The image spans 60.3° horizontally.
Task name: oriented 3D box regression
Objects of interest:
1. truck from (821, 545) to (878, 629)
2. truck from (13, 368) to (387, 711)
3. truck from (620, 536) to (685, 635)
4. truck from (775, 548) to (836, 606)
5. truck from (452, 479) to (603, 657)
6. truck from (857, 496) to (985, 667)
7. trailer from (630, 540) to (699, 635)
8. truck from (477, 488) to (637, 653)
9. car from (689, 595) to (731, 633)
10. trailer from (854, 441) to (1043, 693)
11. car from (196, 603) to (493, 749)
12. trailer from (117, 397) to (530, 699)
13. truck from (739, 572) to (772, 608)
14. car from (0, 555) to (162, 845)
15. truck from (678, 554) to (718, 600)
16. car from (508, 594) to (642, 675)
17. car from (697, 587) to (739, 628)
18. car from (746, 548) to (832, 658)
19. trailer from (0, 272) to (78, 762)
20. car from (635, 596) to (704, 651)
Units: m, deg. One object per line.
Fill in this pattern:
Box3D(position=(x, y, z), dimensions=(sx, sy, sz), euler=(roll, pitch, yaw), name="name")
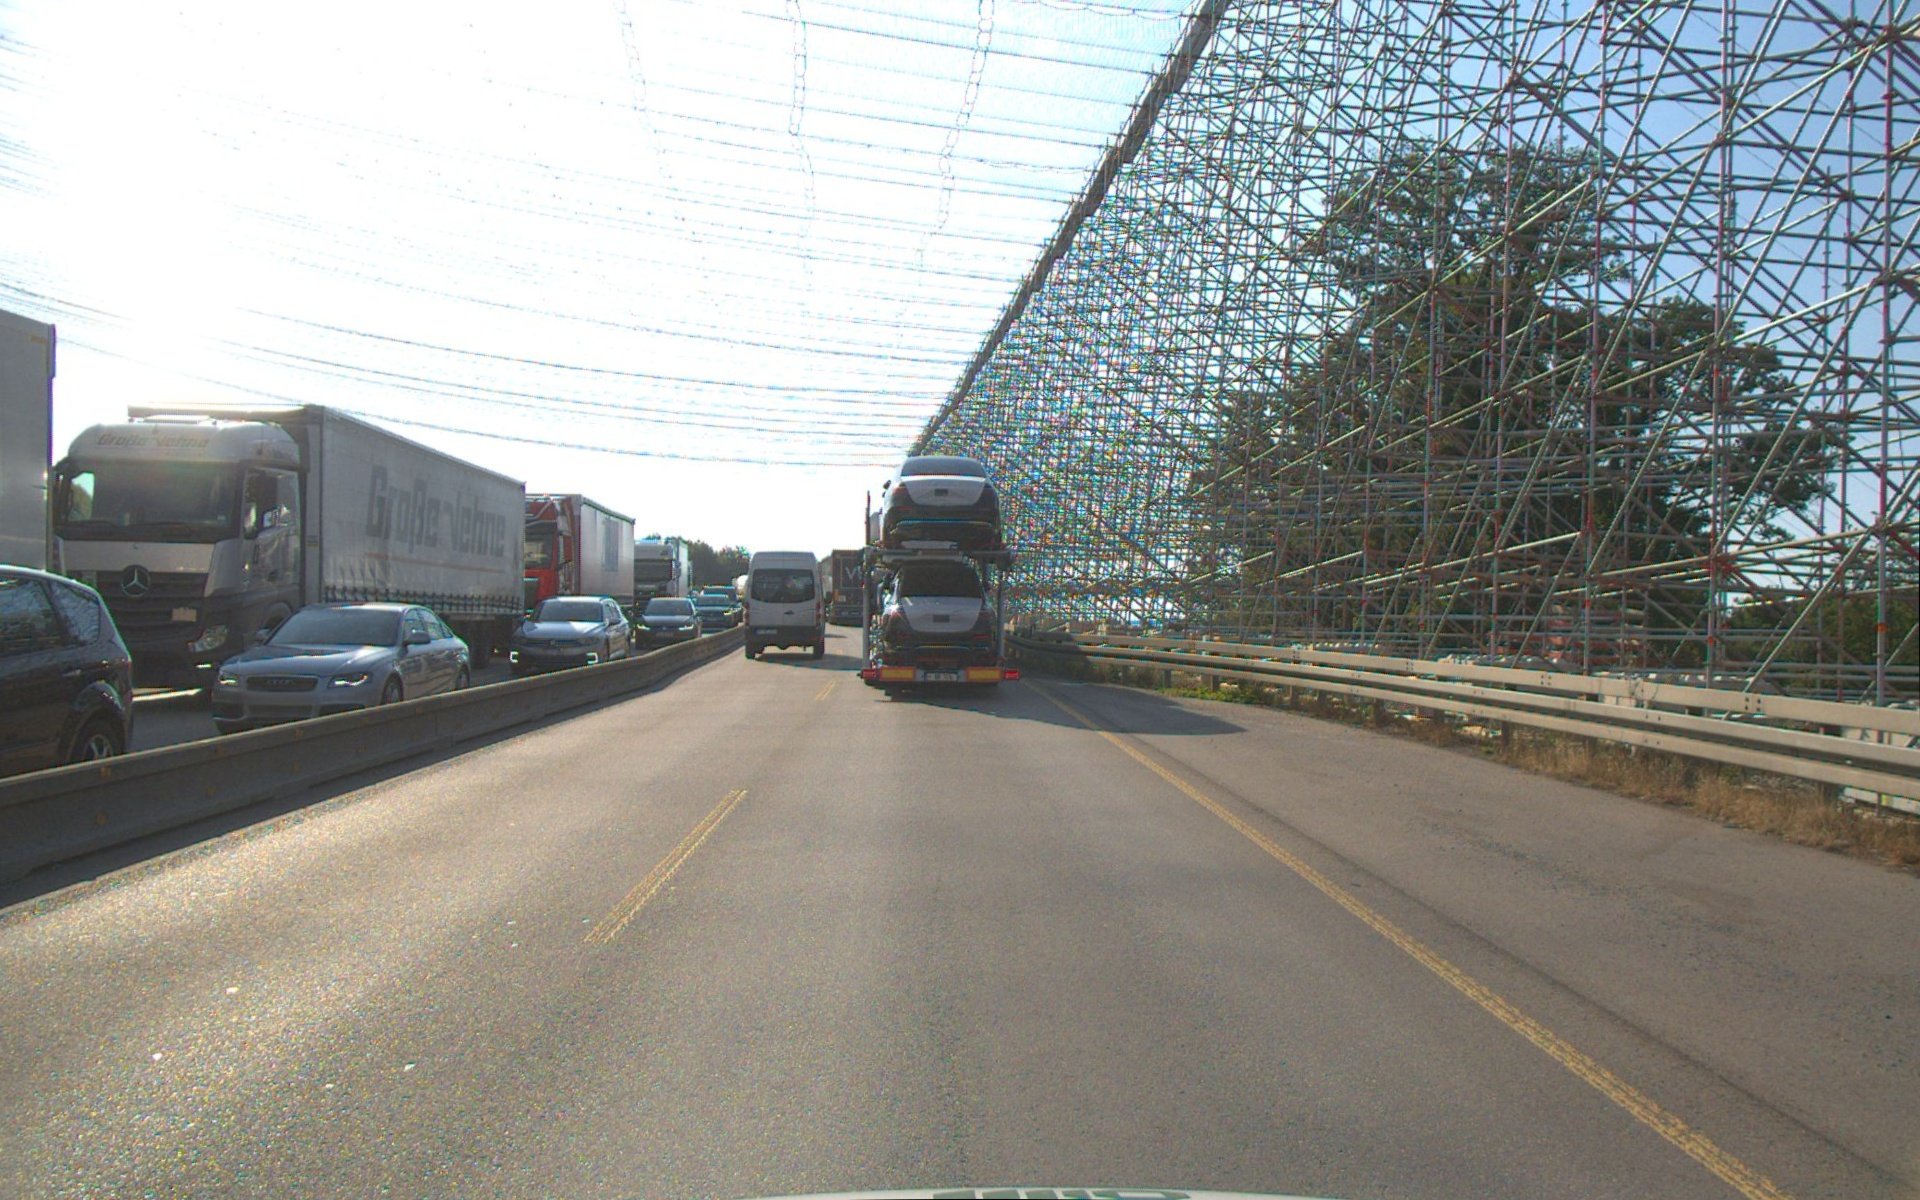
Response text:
Box3D(position=(-6.401, -0.723, 94.281), dimensions=(2.680, 4.462, 11.505), euler=(1, 0, -6), name="truck")
Box3D(position=(-10.379, -0.719, 23.339), dimensions=(2.732, 4.214, 5.930), euler=(0, -1, -3), name="truck")
Box3D(position=(-13.996, -0.627, 75.682), dimensions=(2.613, 4.304, 6.093), euler=(0, 0, -8), name="truck")
Box3D(position=(-12.406, -1.742, 131.765), dimensions=(3.620, 4.294, 13.635), euler=(-2, 0, -10), name="truck")
Box3D(position=(-11.004, -0.730, 42.700), dimensions=(2.733, 4.214, 6.670), euler=(0, 0, -6), name="truck")
Box3D(position=(-1.080, -0.379, 40.276), dimensions=(2.825, 3.767, 7.319), euler=(0, 0, -4), name="truck")
Box3D(position=(-14.664, -0.591, 82.833), dimensions=(2.603, 4.307, 13.896), euler=(2, 0, -7), name="trailer")
Box3D(position=(-11.674, -0.698, 49.294), dimensions=(2.733, 4.214, 13.789), euler=(0, 0, -6), name="truck")
Box3D(position=(-10.870, 0.588, 71.864), dimensions=(1.710, 1.561, 4.259), euler=(1, 0, -8), name="car")
Box3D(position=(-0.638, -0.441, 32.459), dimensions=(2.812, 3.790, 14.935), euler=(0, 0, -4), name="trailer")
Box3D(position=(-6.832, 0.763, 18.969), dimensions=(1.696, 1.401, 4.889), euler=(2, 0, -2), name="car")
Box3D(position=(-10.712, -0.675, 30.139), dimensions=(2.743, 4.214, 13.958), euler=(0, 0, -3), name="trailer")
Box3D(position=(-22.594, -1.055, 182.402), dimensions=(2.571, 3.788, 9.625), euler=(2, 0, -13), name="truck")
Box3D(position=(-6.440, 0.581, 9.195), dimensions=(1.716, 1.686, 4.861), euler=(0, 0, -1), name="car")
Box3D(position=(-21.369, -1.803, 134.662), dimensions=(2.549, 3.534, 12.356), euler=(2, 0, -12), name="truck")
Box3D(position=(-7.680, 0.653, 33.401), dimensions=(1.697, 1.464, 4.835), euler=(2, 0, -2), name="car")
Box3D(position=(-12.048, 0.368, 82.467), dimensions=(1.838, 1.969, 4.855), euler=(1, 0, -6), name="car")
Box3D(position=(-4.322, 0.095, 42.325), dimensions=(1.917, 2.667, 3.998), euler=(0, -1, -2), name="car")
Box3D(position=(-9.826, -0.788, 9.254), dimensions=(2.710, 4.410, 13.875), euler=(0, 0, -2), name="trailer")
Box3D(position=(-8.470, 0.652, 48.433), dimensions=(1.618, 1.489, 4.395), euler=(2, 0, -6), name="car")
